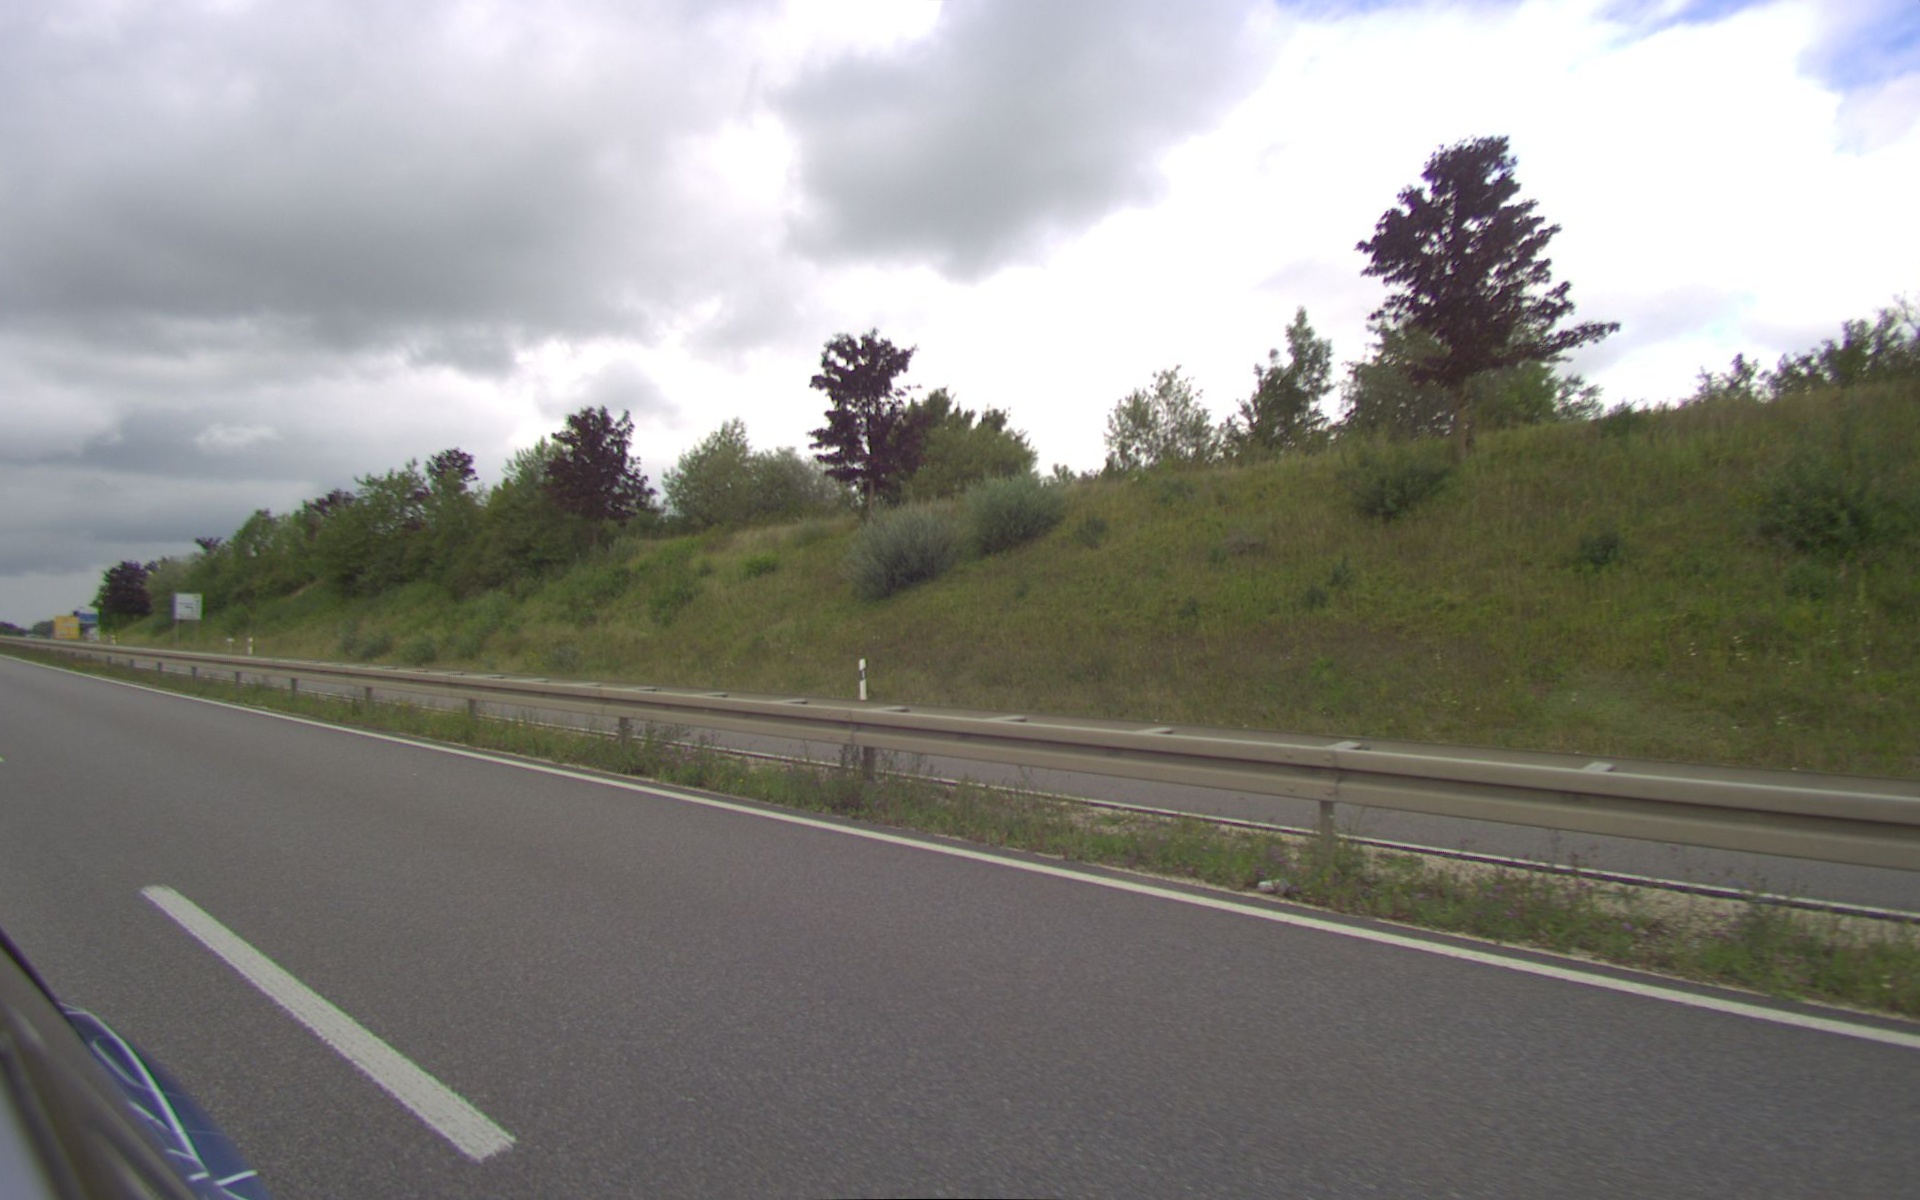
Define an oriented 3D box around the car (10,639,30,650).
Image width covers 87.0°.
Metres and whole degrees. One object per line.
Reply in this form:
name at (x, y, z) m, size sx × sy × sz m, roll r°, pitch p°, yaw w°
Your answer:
car at (-146.786, 6.948, 157.966) m, size 4.463 × 1.529 × 1.900 m, roll -4°, pitch -4°, yaw 43°
